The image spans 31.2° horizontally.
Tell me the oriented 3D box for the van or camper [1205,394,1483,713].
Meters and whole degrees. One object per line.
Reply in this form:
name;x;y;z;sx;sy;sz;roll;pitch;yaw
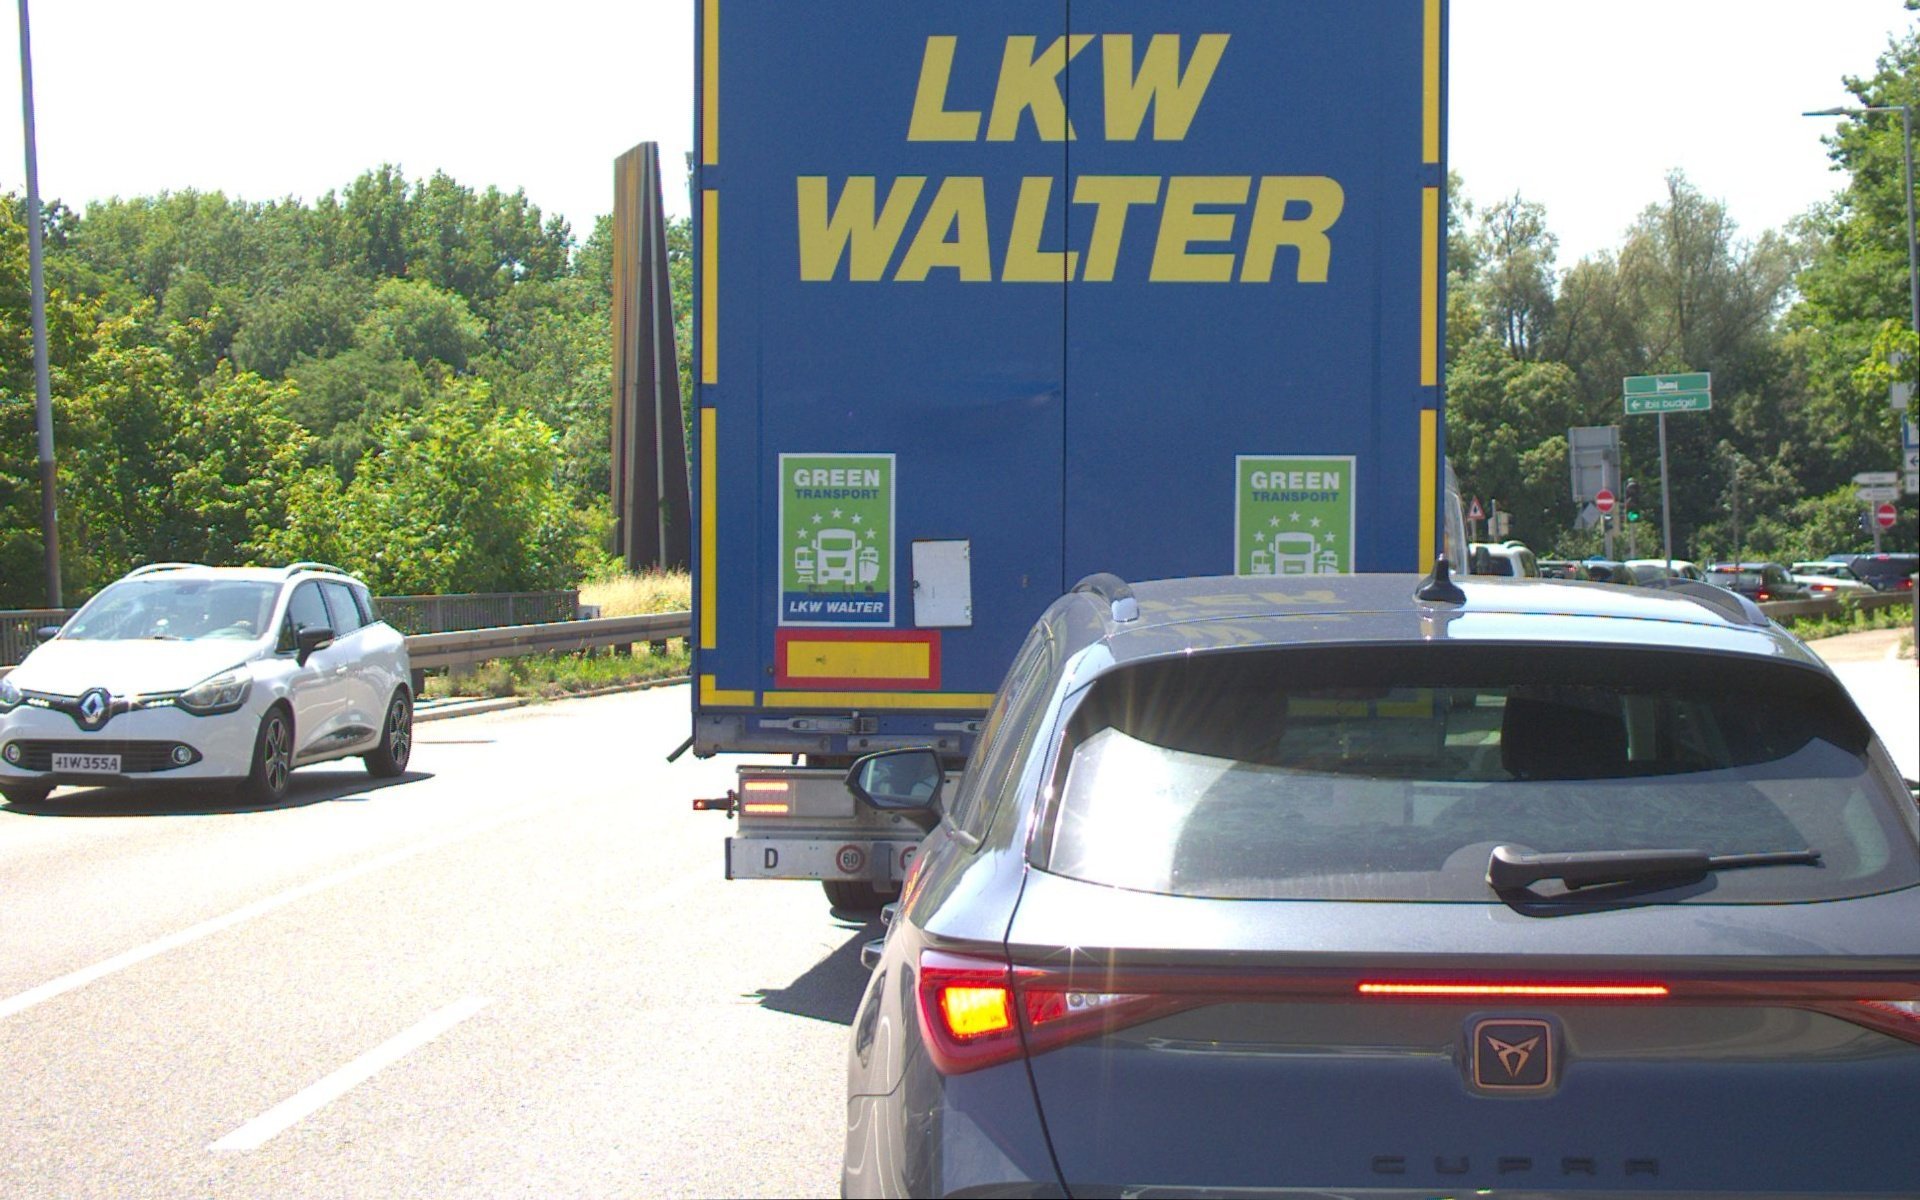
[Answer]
van or camper;3.871;-0.473;33.601;2.155;2.806;6.384;0;1;11

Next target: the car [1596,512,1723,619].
car;12.540;-0.638;61.489;1.722;1.837;3.996;0;1;19

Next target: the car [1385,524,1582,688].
car;6.283;0.023;40.984;1.722;1.837;3.997;0;2;18

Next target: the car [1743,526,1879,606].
car;18.440;-0.712;74.404;1.996;1.570;3.994;2;0;26

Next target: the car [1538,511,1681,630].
car;10.470;-0.501;55.239;1.722;1.837;3.996;0;1;19

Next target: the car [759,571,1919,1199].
car;0.669;0.689;5.908;1.677;1.451;3.958;0;1;2

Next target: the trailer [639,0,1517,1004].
trailer;1.142;-1.006;17.545;2.905;4.403;12.430;0;1;7

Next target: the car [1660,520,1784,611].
car;15.123;-0.670;68.141;1.687;1.754;3.995;0;0;23

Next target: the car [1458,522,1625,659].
car;8.045;-0.171;47.301;1.722;1.796;3.997;0;1;18

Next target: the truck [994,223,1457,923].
truck;2.085;-0.236;25.036;2.905;4.403;6.554;0;1;7

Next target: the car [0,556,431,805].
car;-4.761;0.445;22.131;1.599;1.444;4.054;0;1;8

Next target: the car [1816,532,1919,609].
car;21.363;-0.677;80.350;1.688;1.754;3.994;0;0;28
